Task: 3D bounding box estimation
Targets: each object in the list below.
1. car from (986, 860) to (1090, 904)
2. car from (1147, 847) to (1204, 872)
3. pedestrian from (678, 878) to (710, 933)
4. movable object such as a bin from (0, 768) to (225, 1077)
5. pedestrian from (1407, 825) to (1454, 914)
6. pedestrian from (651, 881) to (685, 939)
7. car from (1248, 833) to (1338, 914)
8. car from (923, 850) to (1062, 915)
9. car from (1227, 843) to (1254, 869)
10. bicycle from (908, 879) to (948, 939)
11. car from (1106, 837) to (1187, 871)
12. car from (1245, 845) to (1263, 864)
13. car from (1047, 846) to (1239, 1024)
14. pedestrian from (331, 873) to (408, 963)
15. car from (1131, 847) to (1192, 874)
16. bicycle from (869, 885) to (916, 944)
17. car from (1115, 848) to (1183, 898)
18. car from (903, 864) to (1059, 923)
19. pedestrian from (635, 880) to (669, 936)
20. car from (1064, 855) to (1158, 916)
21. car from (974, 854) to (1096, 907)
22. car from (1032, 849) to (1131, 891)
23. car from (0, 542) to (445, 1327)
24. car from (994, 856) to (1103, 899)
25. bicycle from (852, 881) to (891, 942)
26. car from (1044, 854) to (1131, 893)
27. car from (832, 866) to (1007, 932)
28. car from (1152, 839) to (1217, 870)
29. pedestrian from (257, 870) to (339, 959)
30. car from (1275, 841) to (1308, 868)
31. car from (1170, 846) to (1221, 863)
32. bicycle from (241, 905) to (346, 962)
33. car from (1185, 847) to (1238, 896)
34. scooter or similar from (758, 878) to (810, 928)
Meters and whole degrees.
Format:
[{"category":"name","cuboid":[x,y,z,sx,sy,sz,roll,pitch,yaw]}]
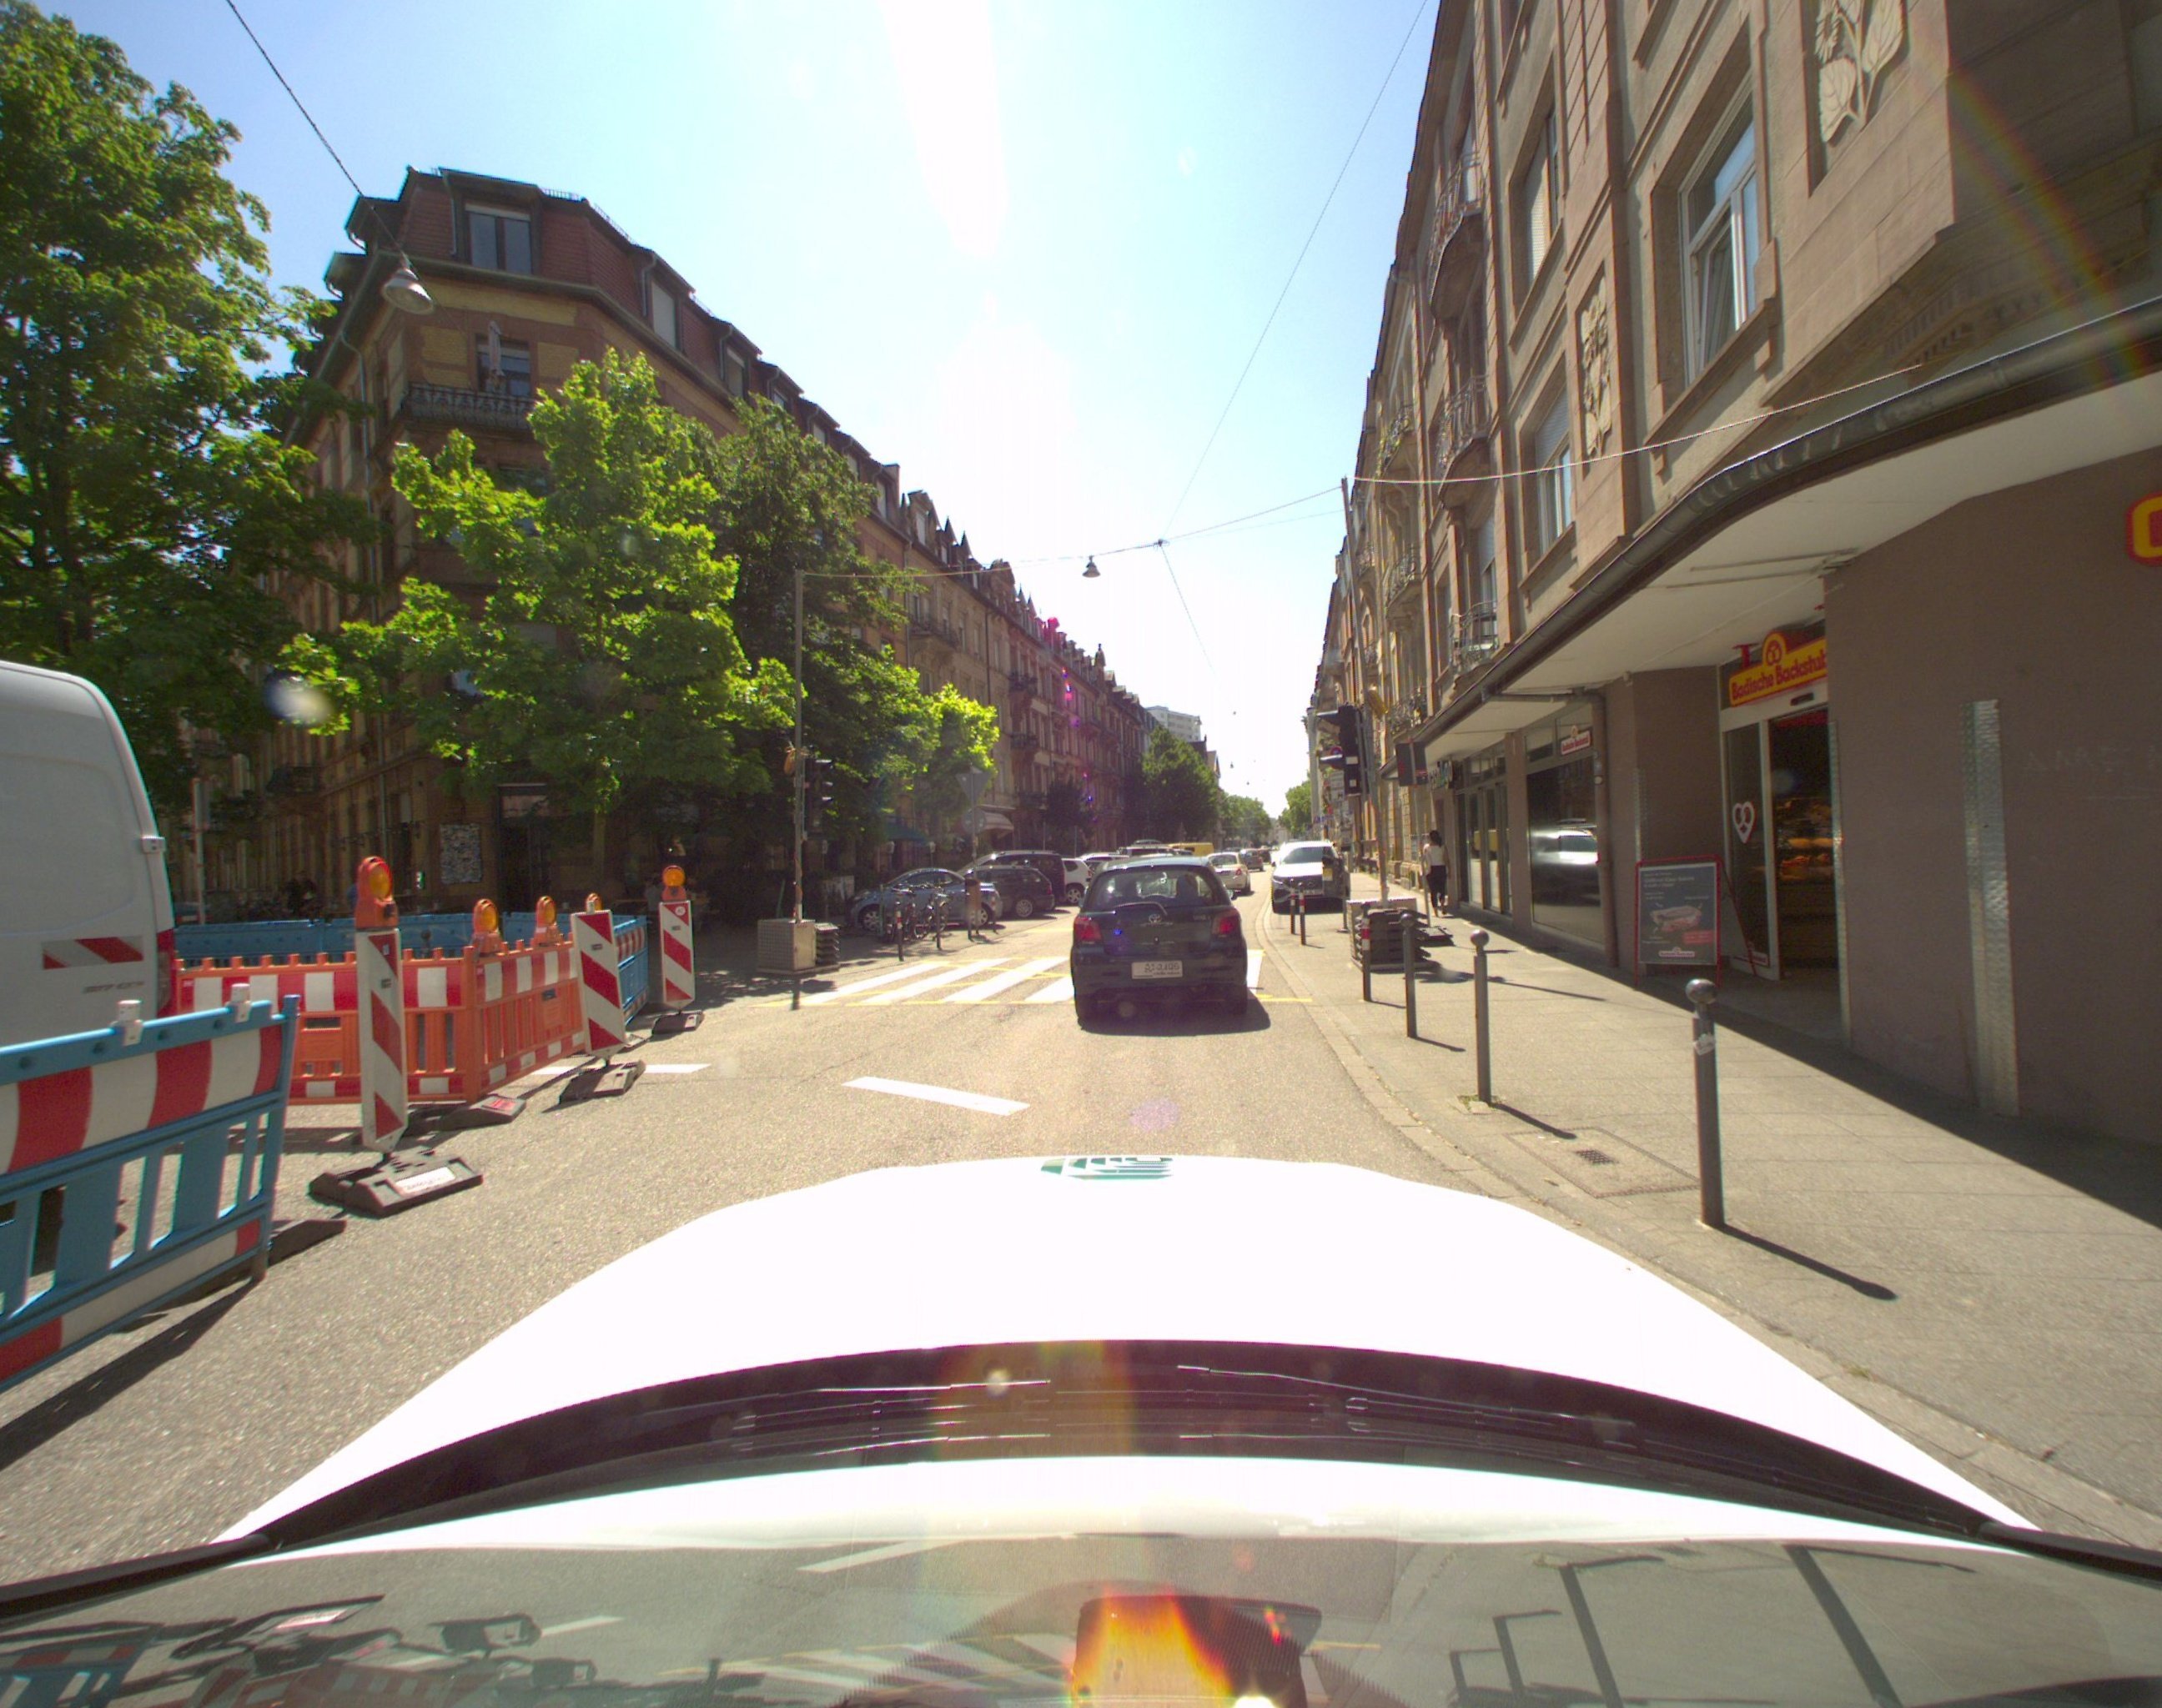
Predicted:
[{"category":"car","cuboid":[-1.595,0.983,29.680,3.618,1.458,1.620,-1,0,-9]},{"category":"car","cuboid":[7.001,0.385,60.540,3.862,1.640,1.779,-3,0,-10]},{"category":"pedestrian","cuboid":[-8.941,1.177,18.821,0.558,1.220,0.594,-3,0,-20]},{"category":"movable object such as a bin","cuboid":[-11.464,0.623,7.934,4.518,2.659,1.959,-1,0,7]},{"category":"pedestrian","cuboid":[6.697,0.288,15.640,0.636,1.623,0.807,-3,0,14]},{"category":"pedestrian","cuboid":[-9.086,1.214,17.925,0.558,1.220,0.594,-3,0,-20]},{"category":"car","cuboid":[5.395,0.426,20.799,1.858,1.713,4.521,-5,-1,14]},{"category":"car","cuboid":[-2.742,0.815,24.924,3.994,1.804,1.760,-1,0,-16]},{"category":"car","cuboid":[10.512,0.102,53.573,1.511,1.592,3.277,-3,0,14]},{"category":"bicycle","cuboid":[-3.304,1.168,17.662,0.489,1.173,1.685,-1,0,1]},{"category":"car","cuboid":[4.213,-0.015,52.823,4.781,1.994,2.043,-3,0,-15]},{"category":"car","cuboid":[15.748,0.032,74.105,1.512,1.592,3.275,-3,0,13]},{"category":"car","cuboid":[0.604,0.725,8.812,1.607,1.485,3.242,-3,0,2]},{"category":"pedestrian","cuboid":[-14.045,1.239,16.098,0.633,1.704,0.933,-1,0,10]},{"category":"car","cuboid":[5.714,0.438,57.712,3.910,1.708,1.860,-3,0,-10]},{"category":"bicycle","cuboid":[-3.953,1.240,17.219,0.489,1.081,1.899,-1,0,1]},{"category":"car","cuboid":[2.711,0.678,31.622,1.742,1.645,4.395,-6,-1,14]},{"category":"car","cuboid":[-2.820,1.035,22.640,3.998,1.412,1.959,-1,0,-18]},{"category":"pedestrian","cuboid":[-9.863,1.224,18.739,0.558,1.220,0.594,-3,0,-20]},{"category":"car","cuboid":[0.939,0.816,22.929,1.742,1.444,4.016,-3,0,14]},{"category":"car","cuboid":[-1.601,0.862,27.825,3.986,1.658,1.754,-1,0,-9]},{"category":"car","cuboid":[0.008,0.678,36.110,3.931,1.619,1.850,-3,0,-26]},{"category":"car","cuboid":[-6.869,0.440,4.023,6.570,2.751,2.390,-3,0,17]},{"category":"car","cuboid":[-1.299,0.930,32.811,3.932,1.470,1.849,-3,0,-27]},{"category":"bicycle","cuboid":[-4.386,1.181,17.144,0.336,1.156,1.621,-1,0,1]},{"category":"car","cuboid":[0.283,0.916,39.147,3.910,1.619,1.860,-3,0,-10]},{"category":"car","cuboid":[-3.969,1.049,20.005,3.994,1.375,1.990,-1,0,-15]},{"category":"car","cuboid":[8.104,0.071,63.954,4.563,2.187,1.991,-3,0,-13]},{"category":"pedestrian","cuboid":[-16.463,1.252,17.132,0.996,1.790,0.869,-1,0,21]},{"category":"car","cuboid":[12.517,0.002,48.520,1.742,1.429,4.016,-3,0,14]},{"category":"car","cuboid":[11.335,0.026,80.955,4.563,1.434,1.991,-3,0,-13]},{"category":"bicycle","cuboid":[-16.384,1.632,16.934,2.261,1.086,0.605,-1,0,19]},{"category":"car","cuboid":[4.656,0.585,28.697,1.511,1.521,3.276,-3,0,14]},{"category":"scooter or similar","cuboid":[-7.411,1.204,20.356,0.275,1.120,1.478,0,1,22]}]
